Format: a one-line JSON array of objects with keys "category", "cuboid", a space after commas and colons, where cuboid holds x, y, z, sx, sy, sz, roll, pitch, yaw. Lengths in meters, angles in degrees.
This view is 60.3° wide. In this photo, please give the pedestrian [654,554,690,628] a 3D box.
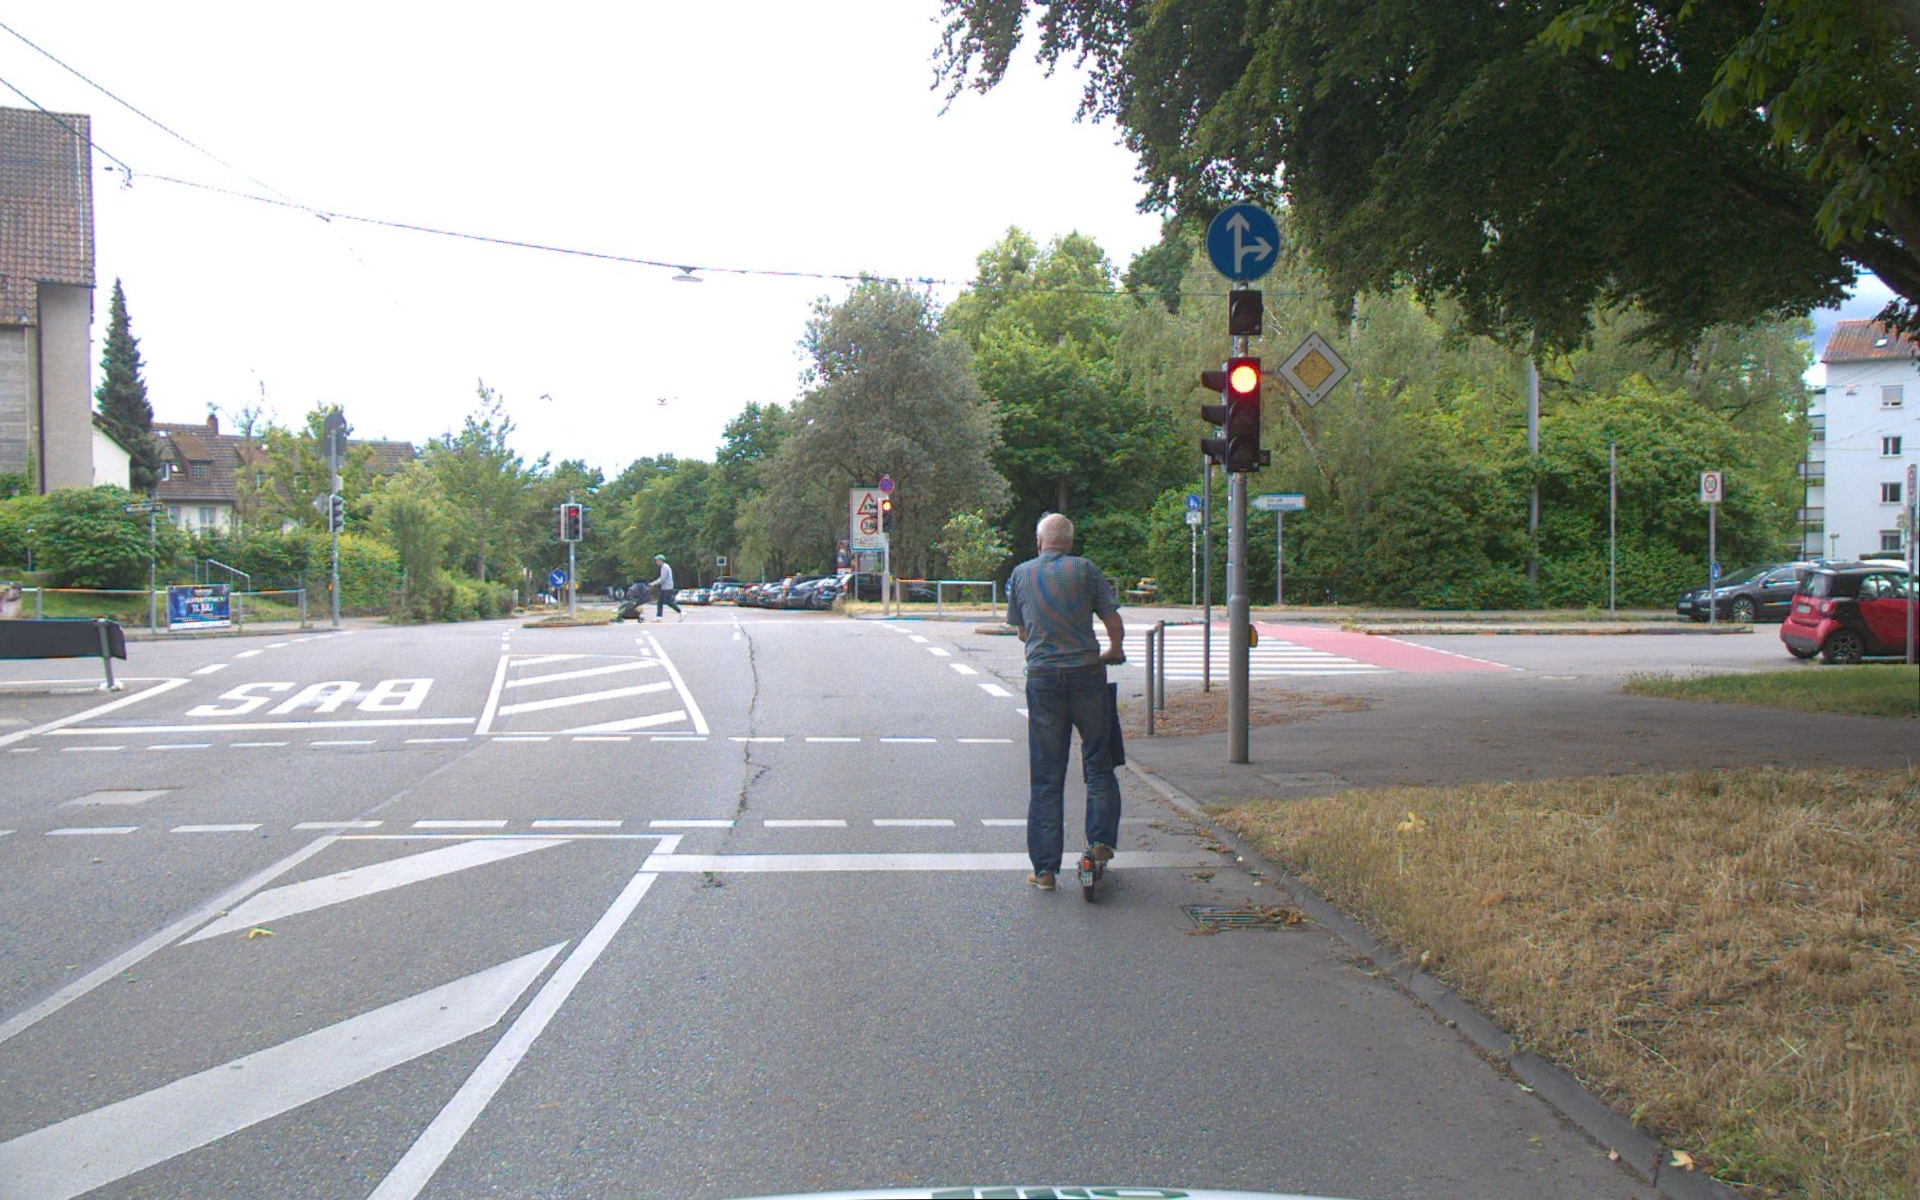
[{"category": "pedestrian", "cuboid": [-7.409, -0.239, 42.608, 0.868, 1.895, 0.573, -1, 1, -10]}]

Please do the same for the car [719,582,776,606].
[{"category": "car", "cuboid": [-15.702, -0.444, 122.301, 3.791, 1.639, 1.716, -2, 1, -24]}]

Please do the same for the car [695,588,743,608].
[{"category": "car", "cuboid": [-20.861, -0.169, 143.083, 3.791, 1.639, 1.716, -2, 1, -24]}]

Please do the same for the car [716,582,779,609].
[{"category": "car", "cuboid": [-14.019, -0.284, 109.361, 3.791, 1.639, 1.716, -2, 1, -24]}]

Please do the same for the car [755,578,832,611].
[{"category": "car", "cuboid": [-8.999, -0.305, 89.585, 3.791, 1.639, 1.716, -2, 1, -24]}]

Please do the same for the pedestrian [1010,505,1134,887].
[{"category": "pedestrian", "cuboid": [0.564, 0.464, 8.213, 0.560, 1.845, 0.421, -1, 1, 7]}]

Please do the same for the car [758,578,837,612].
[{"category": "car", "cuboid": [-8.555, -0.288, 87.181, 3.791, 1.639, 1.716, -2, 1, -24]}]

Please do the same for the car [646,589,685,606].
[{"category": "car", "cuboid": [-31.301, -0.300, 175.770, 3.791, 1.639, 1.716, -2, 1, -24]}]

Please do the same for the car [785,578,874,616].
[{"category": "car", "cuboid": [-6.101, -0.134, 77.333, 3.792, 1.639, 1.715, -2, 1, -25]}]

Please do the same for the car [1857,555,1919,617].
[{"category": "car", "cuboid": [26.299, -0.421, 46.554, 1.689, 1.639, 3.850, -1, 1, 27]}]

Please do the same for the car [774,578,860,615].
[{"category": "car", "cuboid": [-6.900, -0.158, 79.861, 3.791, 1.639, 1.716, -2, 1, -24]}]

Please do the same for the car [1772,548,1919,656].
[{"category": "car", "cuboid": [15.191, -0.005, 26.548, 3.444, 1.639, 1.729, -2, 1, 4]}]

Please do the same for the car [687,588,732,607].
[{"category": "car", "cuboid": [-23.393, -0.264, 154.344, 3.791, 1.639, 1.716, -2, 1, -24]}]

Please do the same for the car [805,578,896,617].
[{"category": "car", "cuboid": [-5.012, -0.124, 75.381, 3.788, 1.639, 1.717, -2, 1, -22]}]

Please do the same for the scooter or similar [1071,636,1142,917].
[{"category": "scooter or similar", "cuboid": [0.714, 0.797, 7.914, 0.276, 1.199, 1.178, -1, 1, 7]}]

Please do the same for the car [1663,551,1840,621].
[{"category": "car", "cuboid": [19.061, -0.337, 39.958, 3.444, 1.557, 1.729, -2, 1, 5]}]

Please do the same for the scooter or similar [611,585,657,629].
[{"category": "scooter or similar", "cuboid": [-8.361, 0.169, 42.465, 1.086, 1.100, 0.577, -1, 1, -7]}]
